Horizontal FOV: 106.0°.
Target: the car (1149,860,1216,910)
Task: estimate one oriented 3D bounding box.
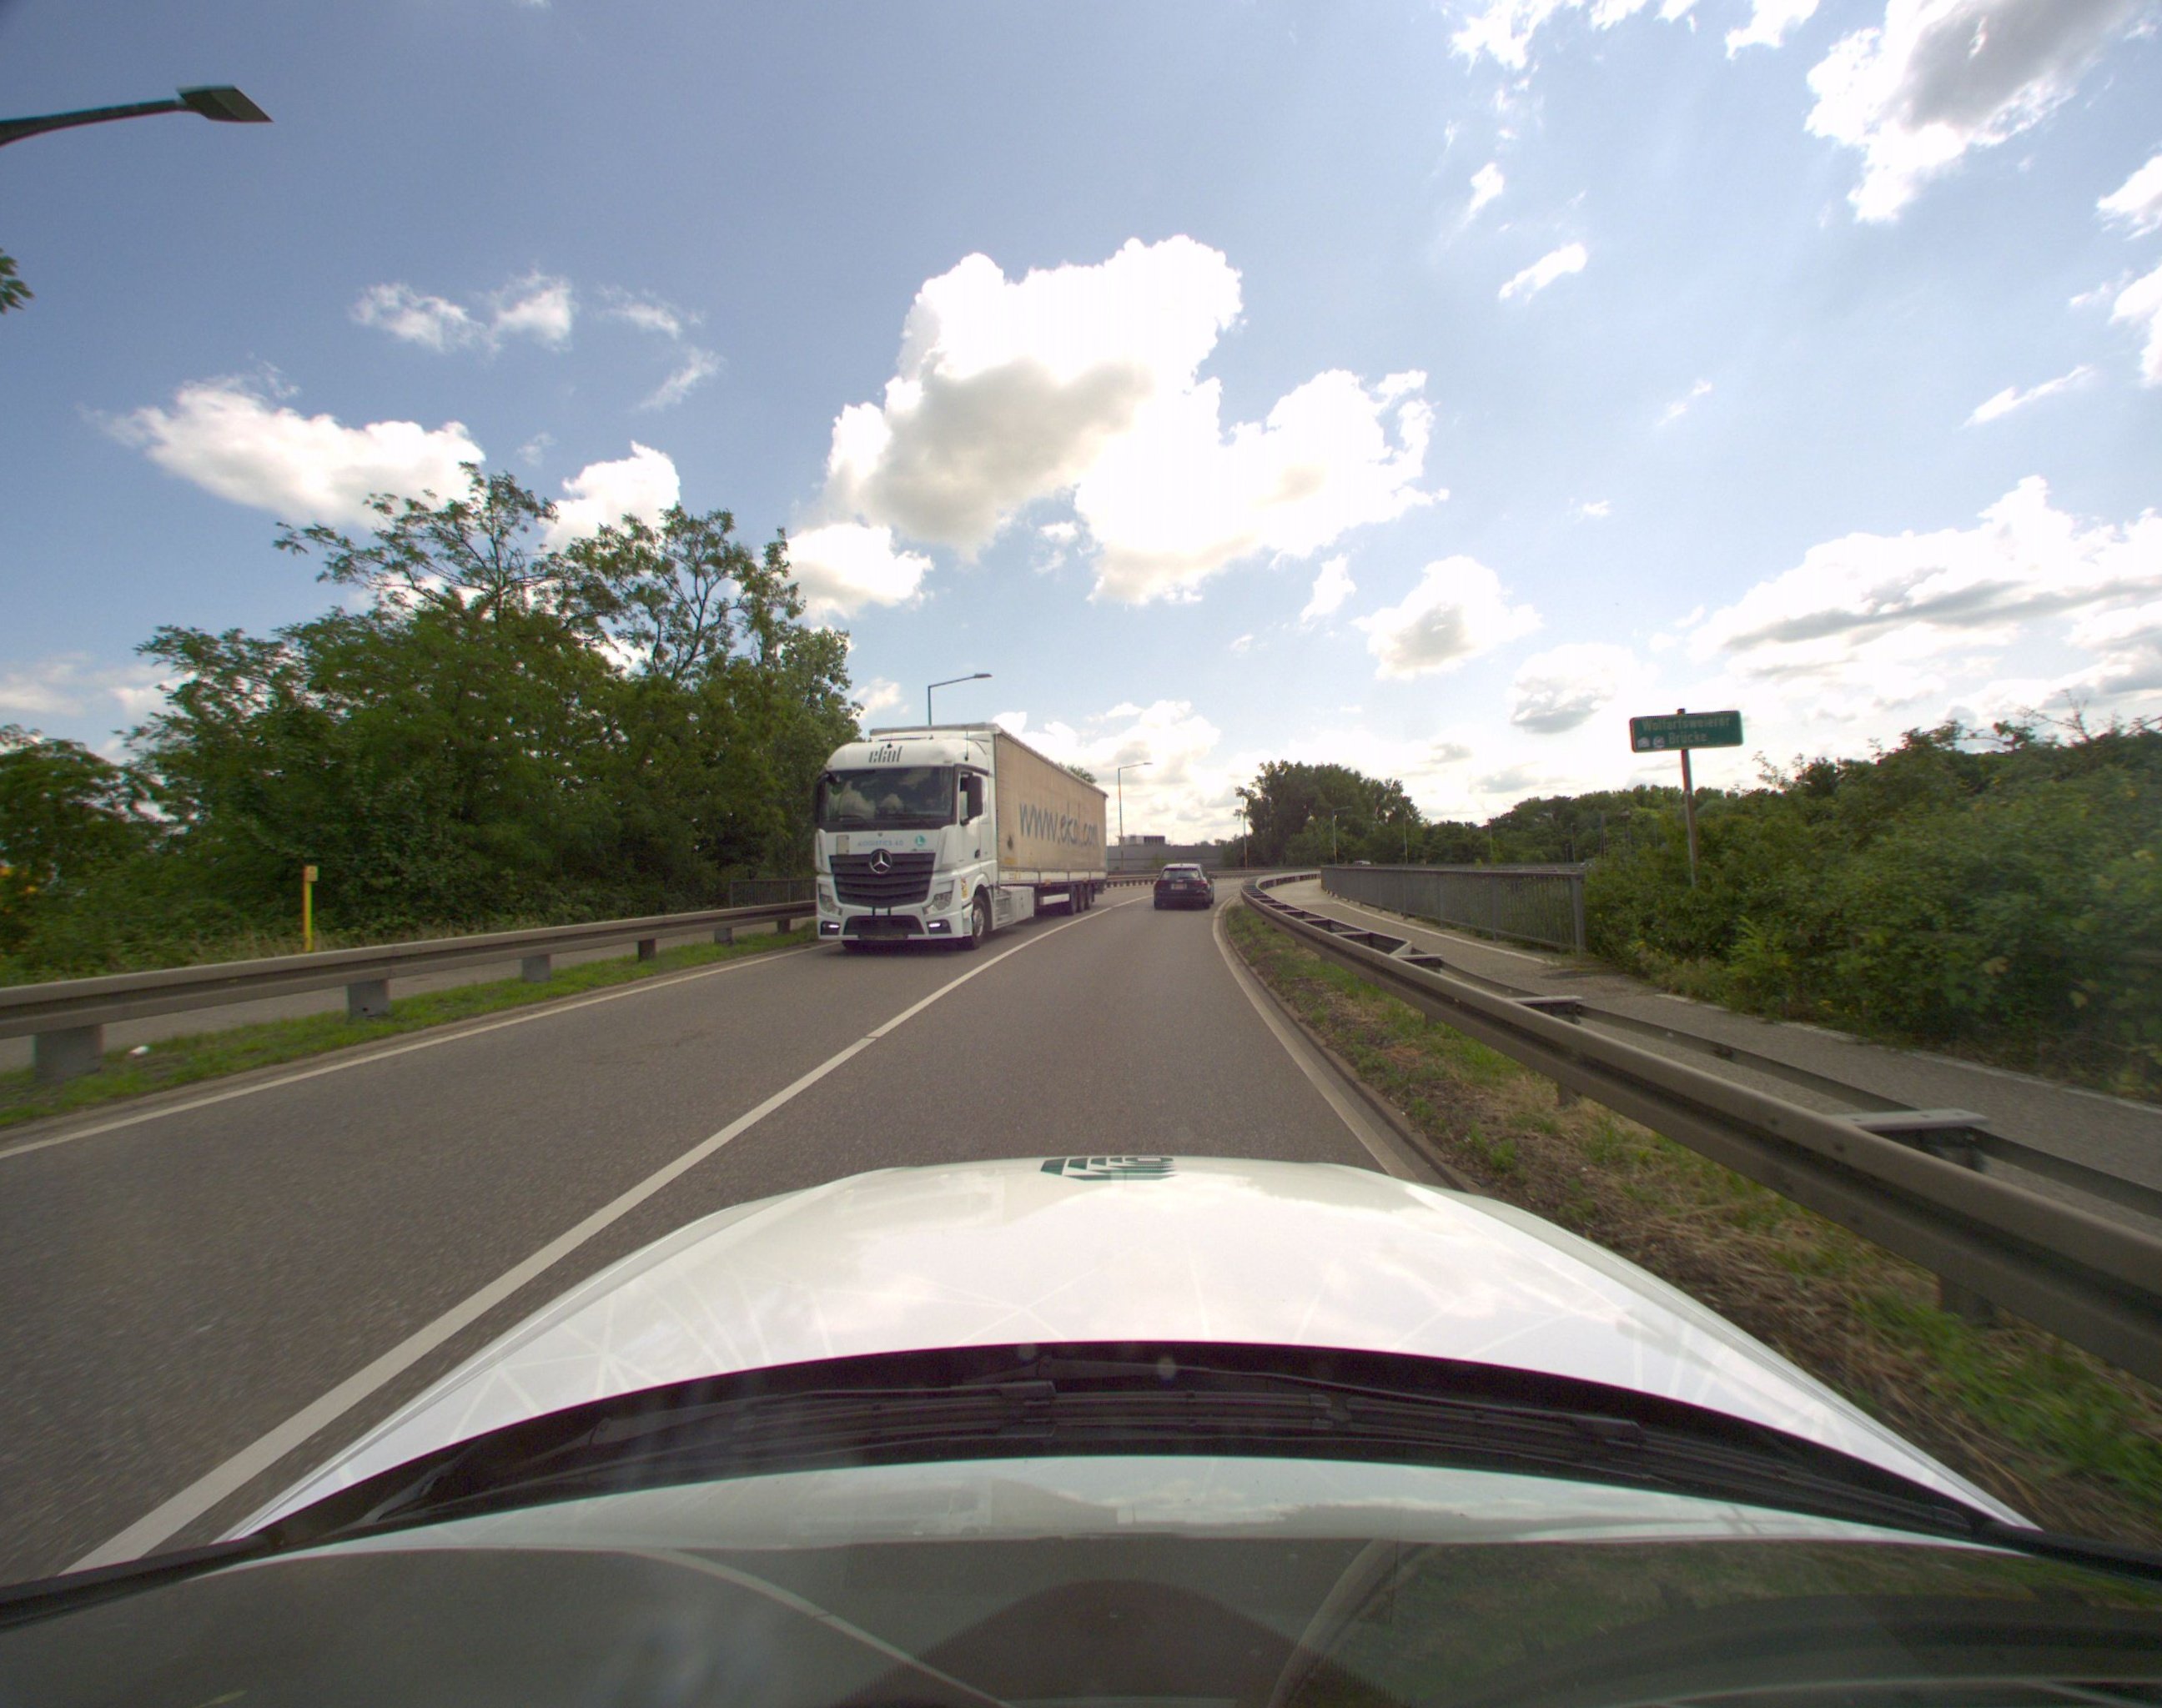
[{"bbox_3d":[3.462,0.972,27.166,1.815,1.492,4.221,-1,-1,12],"label":"car"}]

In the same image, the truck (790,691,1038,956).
[{"bbox_3d":[-2.824,-0.437,15.667,2.744,4.135,5.668,-1,-1,10],"label":"truck"}]

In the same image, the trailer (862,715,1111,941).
[{"bbox_3d":[-1.591,-0.419,22.614,2.689,4.280,14.273,-1,-1,11],"label":"trailer"}]
